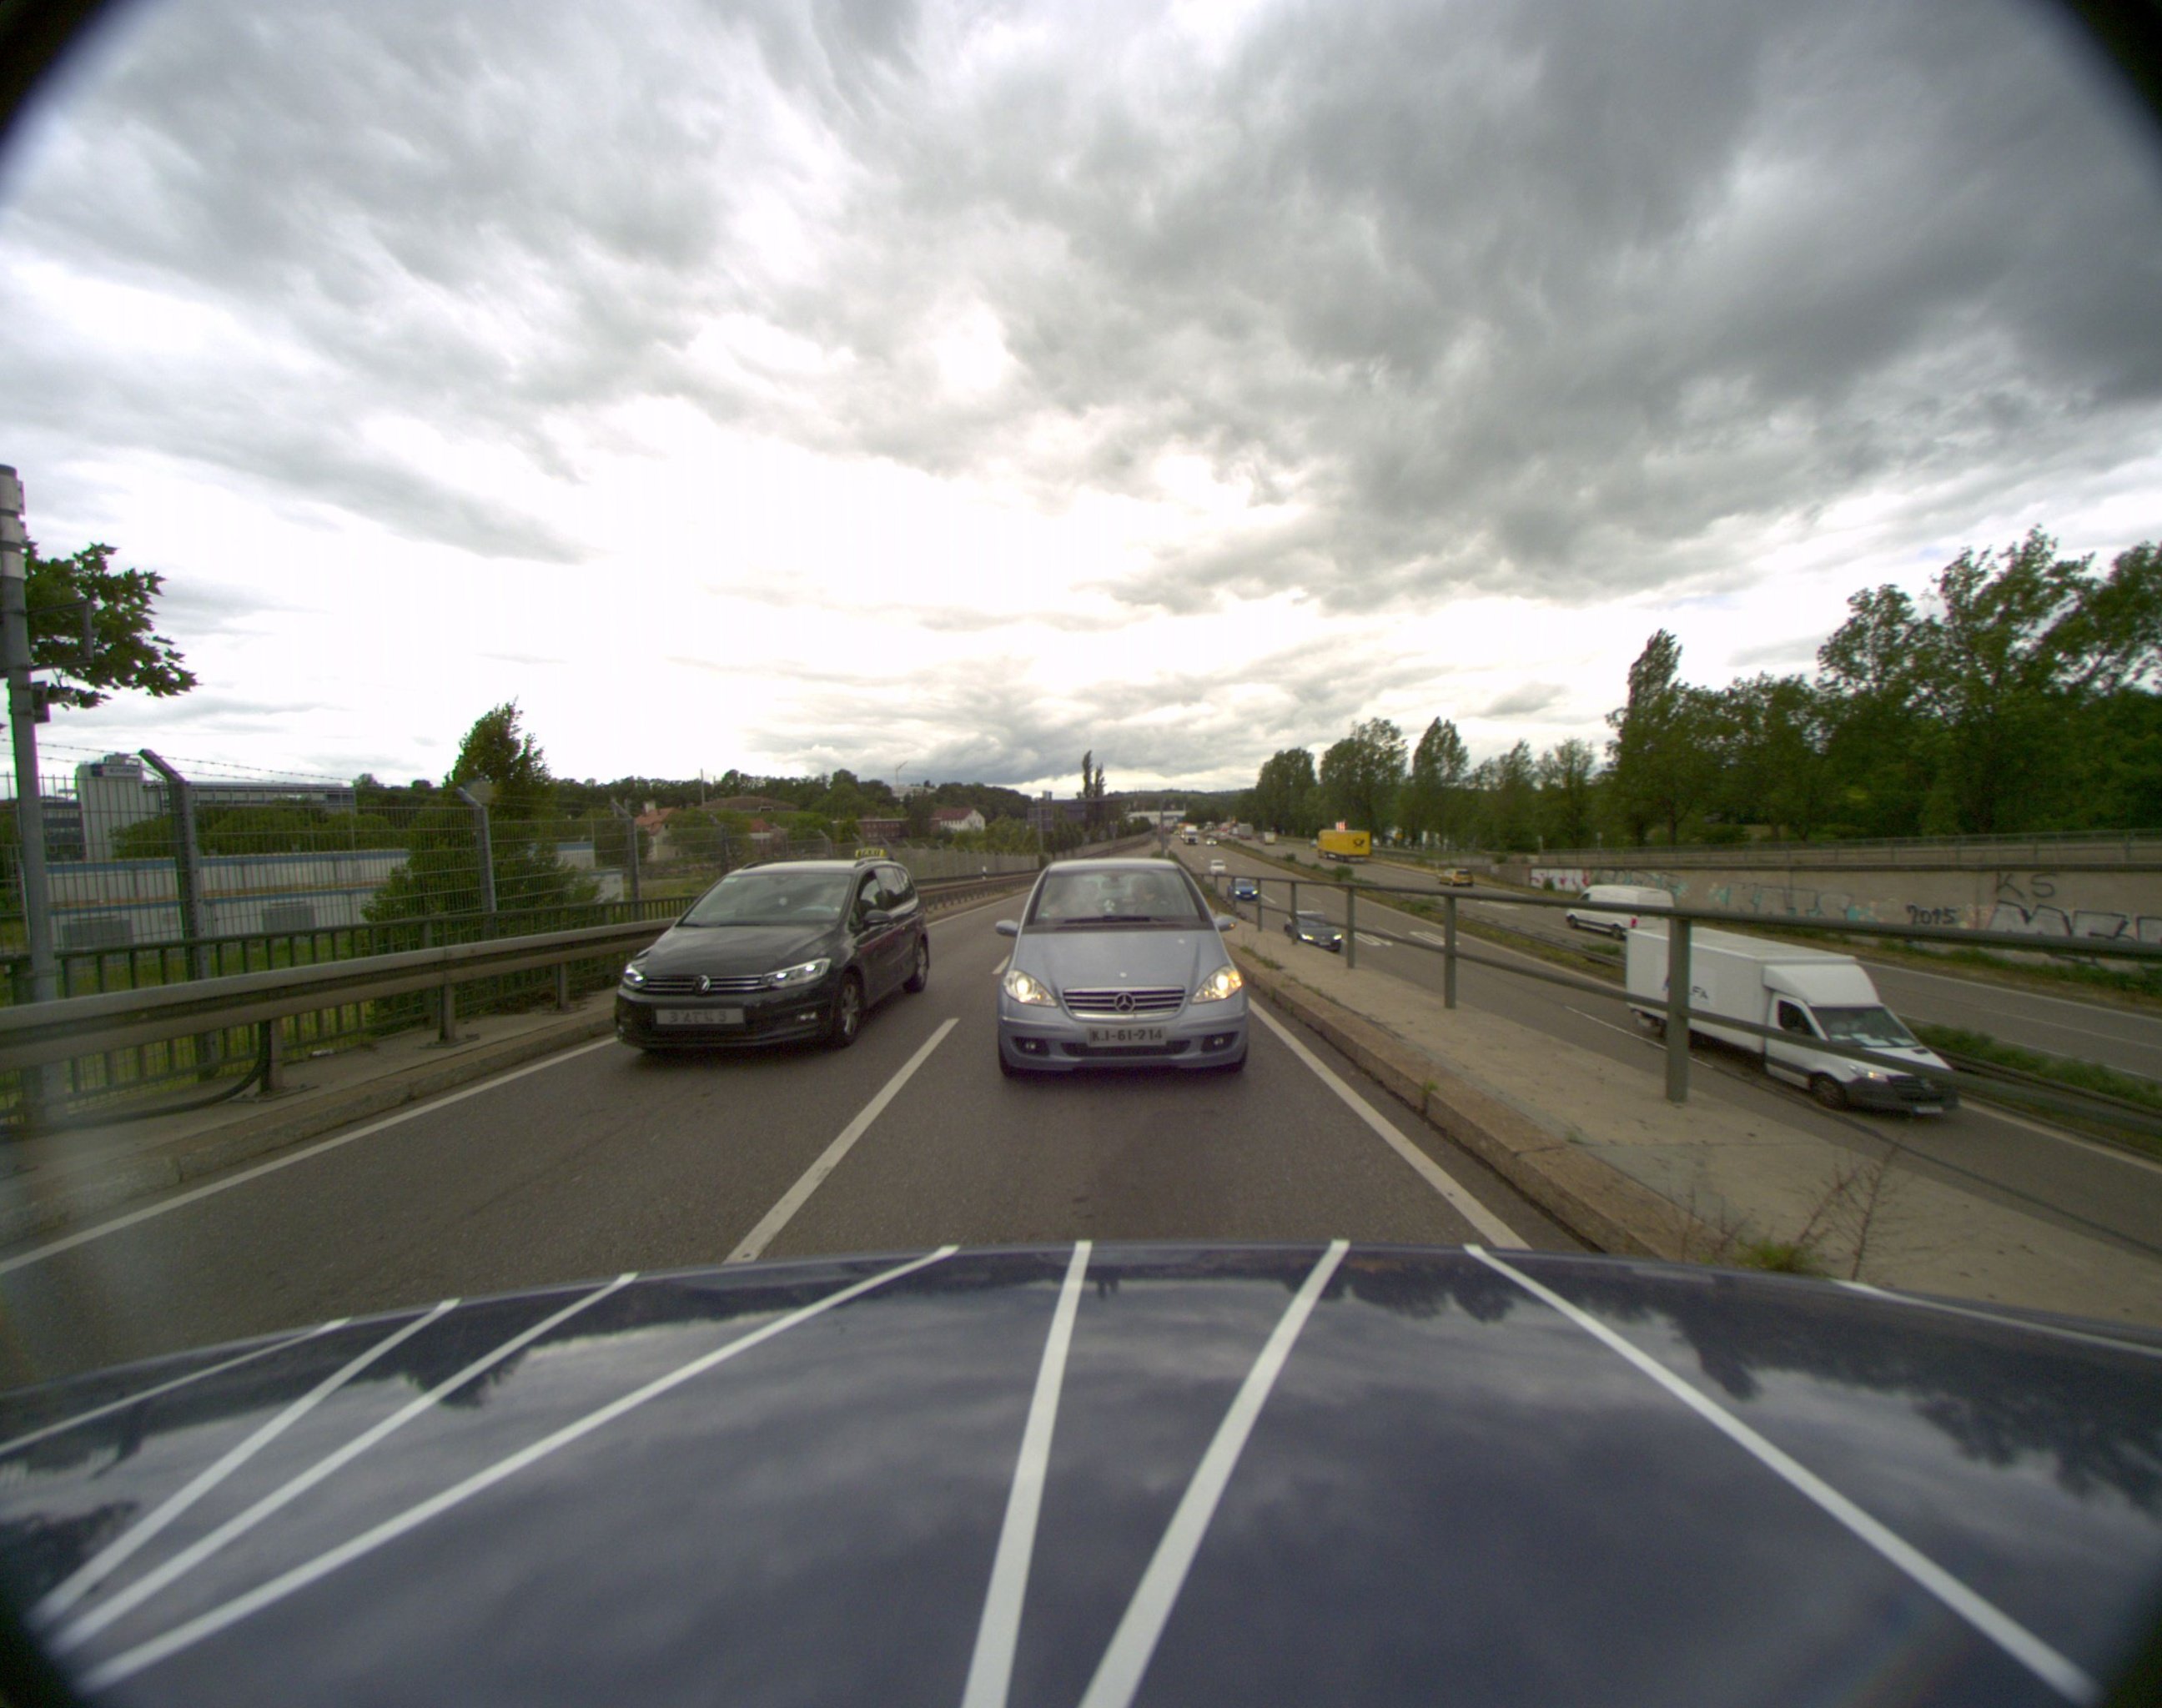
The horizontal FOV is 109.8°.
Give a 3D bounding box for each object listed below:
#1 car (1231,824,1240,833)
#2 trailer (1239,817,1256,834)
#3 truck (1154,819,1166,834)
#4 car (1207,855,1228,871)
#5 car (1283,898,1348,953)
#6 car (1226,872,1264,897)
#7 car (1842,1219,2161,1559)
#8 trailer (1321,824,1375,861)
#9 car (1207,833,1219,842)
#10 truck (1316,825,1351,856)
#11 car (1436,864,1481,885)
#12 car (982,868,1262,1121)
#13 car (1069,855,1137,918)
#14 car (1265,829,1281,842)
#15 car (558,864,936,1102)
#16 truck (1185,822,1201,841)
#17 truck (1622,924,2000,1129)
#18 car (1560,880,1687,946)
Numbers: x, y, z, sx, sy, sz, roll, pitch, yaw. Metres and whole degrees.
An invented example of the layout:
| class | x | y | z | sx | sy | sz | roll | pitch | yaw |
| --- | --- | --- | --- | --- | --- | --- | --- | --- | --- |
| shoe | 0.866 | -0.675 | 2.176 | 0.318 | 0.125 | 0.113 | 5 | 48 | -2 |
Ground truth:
| class | x | y | z | sx | sy | sz | roll | pitch | yaw |
| --- | --- | --- | --- | --- | --- | --- | --- | --- | --- |
| car | 52.387 | -8.683 | 257.868 | 1.998 | 2.635 | 5.179 | 2 | 3 | 2 |
| trailer | 45.466 | -7.841 | 207.551 | 2.792 | 4.117 | 13.761 | -1 | 3 | 6 |
| truck | 22.487 | -8.007 | 217.314 | 3.101 | 3.990 | 8.487 | -1 | 4 | 5 |
| car | 14.450 | 0.958 | 80.441 | 1.769 | 1.520 | 3.335 | 0 | 3 | 3 |
| car | 11.029 | 3.326 | 36.045 | 1.998 | 2.003 | 3.999 | 1 | 3 | 3 |
| car | 12.387 | 2.302 | 57.646 | 1.998 | 1.524 | 3.998 | 0 | 3 | 1 |
| car | 9.936 | 5.122 | 6.922 | 1.828 | 1.443 | 4.125 | 0 | 3 | 1 |
| trailer | 34.728 | -1.663 | 99.512 | 3.248 | 4.239 | 13.677 | 0 | 3 | 4 |
| car | 27.619 | -3.444 | 159.074 | 1.854 | 1.562 | 4.436 | -1 | 4 | 2 |
| truck | 35.253 | -1.994 | 106.313 | 3.247 | 4.159 | 5.803 | 0 | 3 | 4 |
| car | 32.545 | 1.767 | 65.600 | 1.872 | 1.449 | 4.151 | -1 | 3 | 1 |
| car | 0.292 | 0.918 | 6.770 | 1.743 | 1.534 | 3.993 | -1 | 0 | 1 |
| car | 0.648 | 0.938 | 23.151 | 1.830 | 1.701 | 4.001 | -2 | -1 | 1 |
| car | 40.512 | -4.018 | 160.638 | 1.998 | 2.614 | 6.711 | 1 | 3 | 3 |
| car | -2.807 | 0.959 | 7.556 | 1.800 | 1.643 | 4.151 | -2 | -1 | 1 |
| truck | 24.481 | -4.983 | 165.965 | 3.010 | 4.087 | 5.872 | 0 | 3 | 4 |
| truck | 16.823 | 3.728 | 18.475 | 2.239 | 2.993 | 7.228 | -1 | 3 | 1 |
| car | 27.532 | 2.897 | 38.929 | 2.172 | 2.580 | 6.099 | -1 | 3 | 1 |
